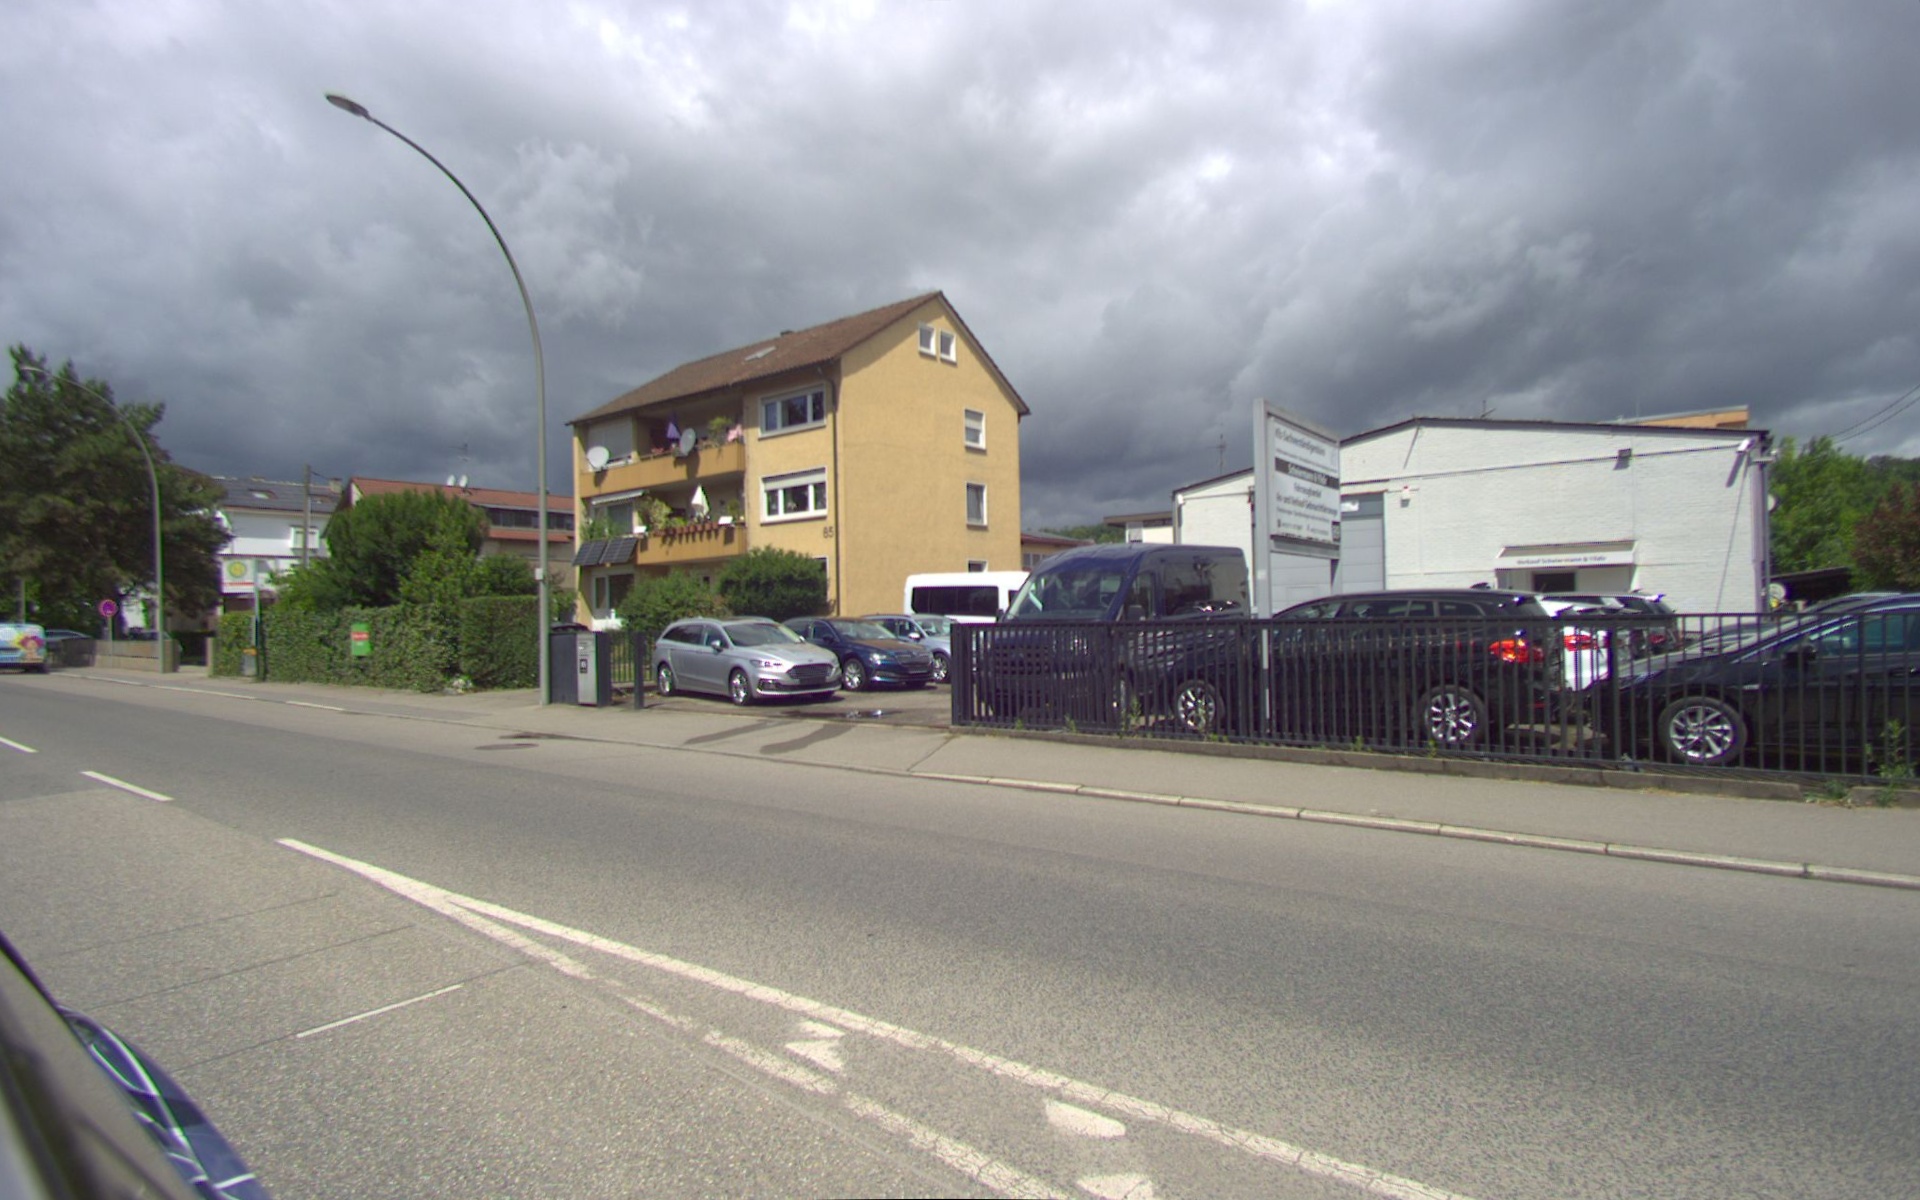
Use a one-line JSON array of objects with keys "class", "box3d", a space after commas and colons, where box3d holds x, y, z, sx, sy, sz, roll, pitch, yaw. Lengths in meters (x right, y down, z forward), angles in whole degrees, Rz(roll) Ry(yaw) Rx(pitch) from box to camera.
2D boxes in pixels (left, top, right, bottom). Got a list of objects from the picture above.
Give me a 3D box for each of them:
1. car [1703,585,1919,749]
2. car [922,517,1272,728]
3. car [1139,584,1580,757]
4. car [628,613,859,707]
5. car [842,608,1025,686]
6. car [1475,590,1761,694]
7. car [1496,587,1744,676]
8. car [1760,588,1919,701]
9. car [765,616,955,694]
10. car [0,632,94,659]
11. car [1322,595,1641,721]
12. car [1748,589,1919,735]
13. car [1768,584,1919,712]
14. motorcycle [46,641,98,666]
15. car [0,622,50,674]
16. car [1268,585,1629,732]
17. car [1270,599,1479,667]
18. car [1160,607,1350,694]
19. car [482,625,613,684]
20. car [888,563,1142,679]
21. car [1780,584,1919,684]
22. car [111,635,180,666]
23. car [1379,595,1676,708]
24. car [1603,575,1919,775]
[{"class": "car", "box3d": [9.978, 0.619, 9.947, 4.259, 1.518, 2.134, -2, -2, 37]}, {"class": "car", "box3d": [2.315, 0.339, 15.186, 2.474, 2.515, 5.977, -2, -2, 39]}, {"class": "car", "box3d": [4.424, 0.722, 11.476, 4.276, 1.607, 2.013, -2, -2, 37]}, {"class": "car", "box3d": [-4.205, 1.041, 18.897, 1.968, 1.497, 5.349, 1, -2, -40]}, {"class": "car", "box3d": [-0.693, 1.019, 22.757, 1.821, 1.589, 4.338, 1, -2, -39]}, {"class": "car", "box3d": [11.394, 0.720, 17.763, 3.989, 1.630, 1.761, -2, -2, 34]}, {"class": "car", "box3d": [13.142, 0.644, 20.372, 3.989, 1.630, 1.761, -2, -2, 34]}, {"class": "car", "box3d": [14.704, 0.651, 15.233, 3.989, 1.630, 1.761, -2, -2, 34]}, {"class": "car", "box3d": [-2.171, 1.078, 20.912, 1.821, 1.437, 4.338, 1, -2, -39]}, {"class": "car", "box3d": [-57.688, 2.825, 63.390, 1.969, 1.563, 4.961, -1, -2, 37]}, {"class": "car", "box3d": [7.631, 0.809, 14.964, 3.989, 1.630, 1.761, -2, -2, 34]}, {"class": "car", "box3d": [11.729, 0.695, 11.735, 3.993, 1.630, 1.759, -2, -2, 37]}, {"class": "car", "box3d": [13.250, 0.611, 13.300, 3.993, 1.630, 1.759, -2, -2, 37]}, {"class": "motorcycle", "box3d": [-43.644, 2.614, 49.755, 1.845, 1.174, 0.827, 0, -2, -35]}, {"class": "car", "box3d": [-36.389, 1.841, 38.482, 4.890, 1.868, 1.815, -3, -6, 39]}, {"class": "car", "box3d": [6.257, 0.713, 13.125, 3.989, 1.630, 1.761, -2, -2, 34]}, {"class": "car", "box3d": [11.367, 0.910, 27.942, 4.997, 1.726, 2.030, -2, -2, 37]}, {"class": "car", "box3d": [5.778, 0.914, 19.585, 1.954, 1.490, 3.995, -2, -2, 43]}, {"class": "car", "box3d": [-11.075, 1.412, 27.038, 1.823, 1.437, 4.334, 1, -2, -43]}, {"class": "car", "box3d": [1.210, 0.584, 24.849, 6.133, 2.514, 2.386, -2, -4, 42]}, {"class": "car", "box3d": [16.605, 0.564, 17.159, 3.989, 1.630, 1.761, -2, -2, 34]}, {"class": "car", "box3d": [-42.595, 2.618, 52.897, 4.078, 1.555, 1.751, -2, -2, 35]}, {"class": "car", "box3d": [9.115, 0.798, 16.434, 3.989, 1.630, 1.761, -2, -2, 34]}, {"class": "car", "box3d": [8.007, 0.585, 8.486, 4.259, 1.518, 2.134, -2, -2, 37]}]
